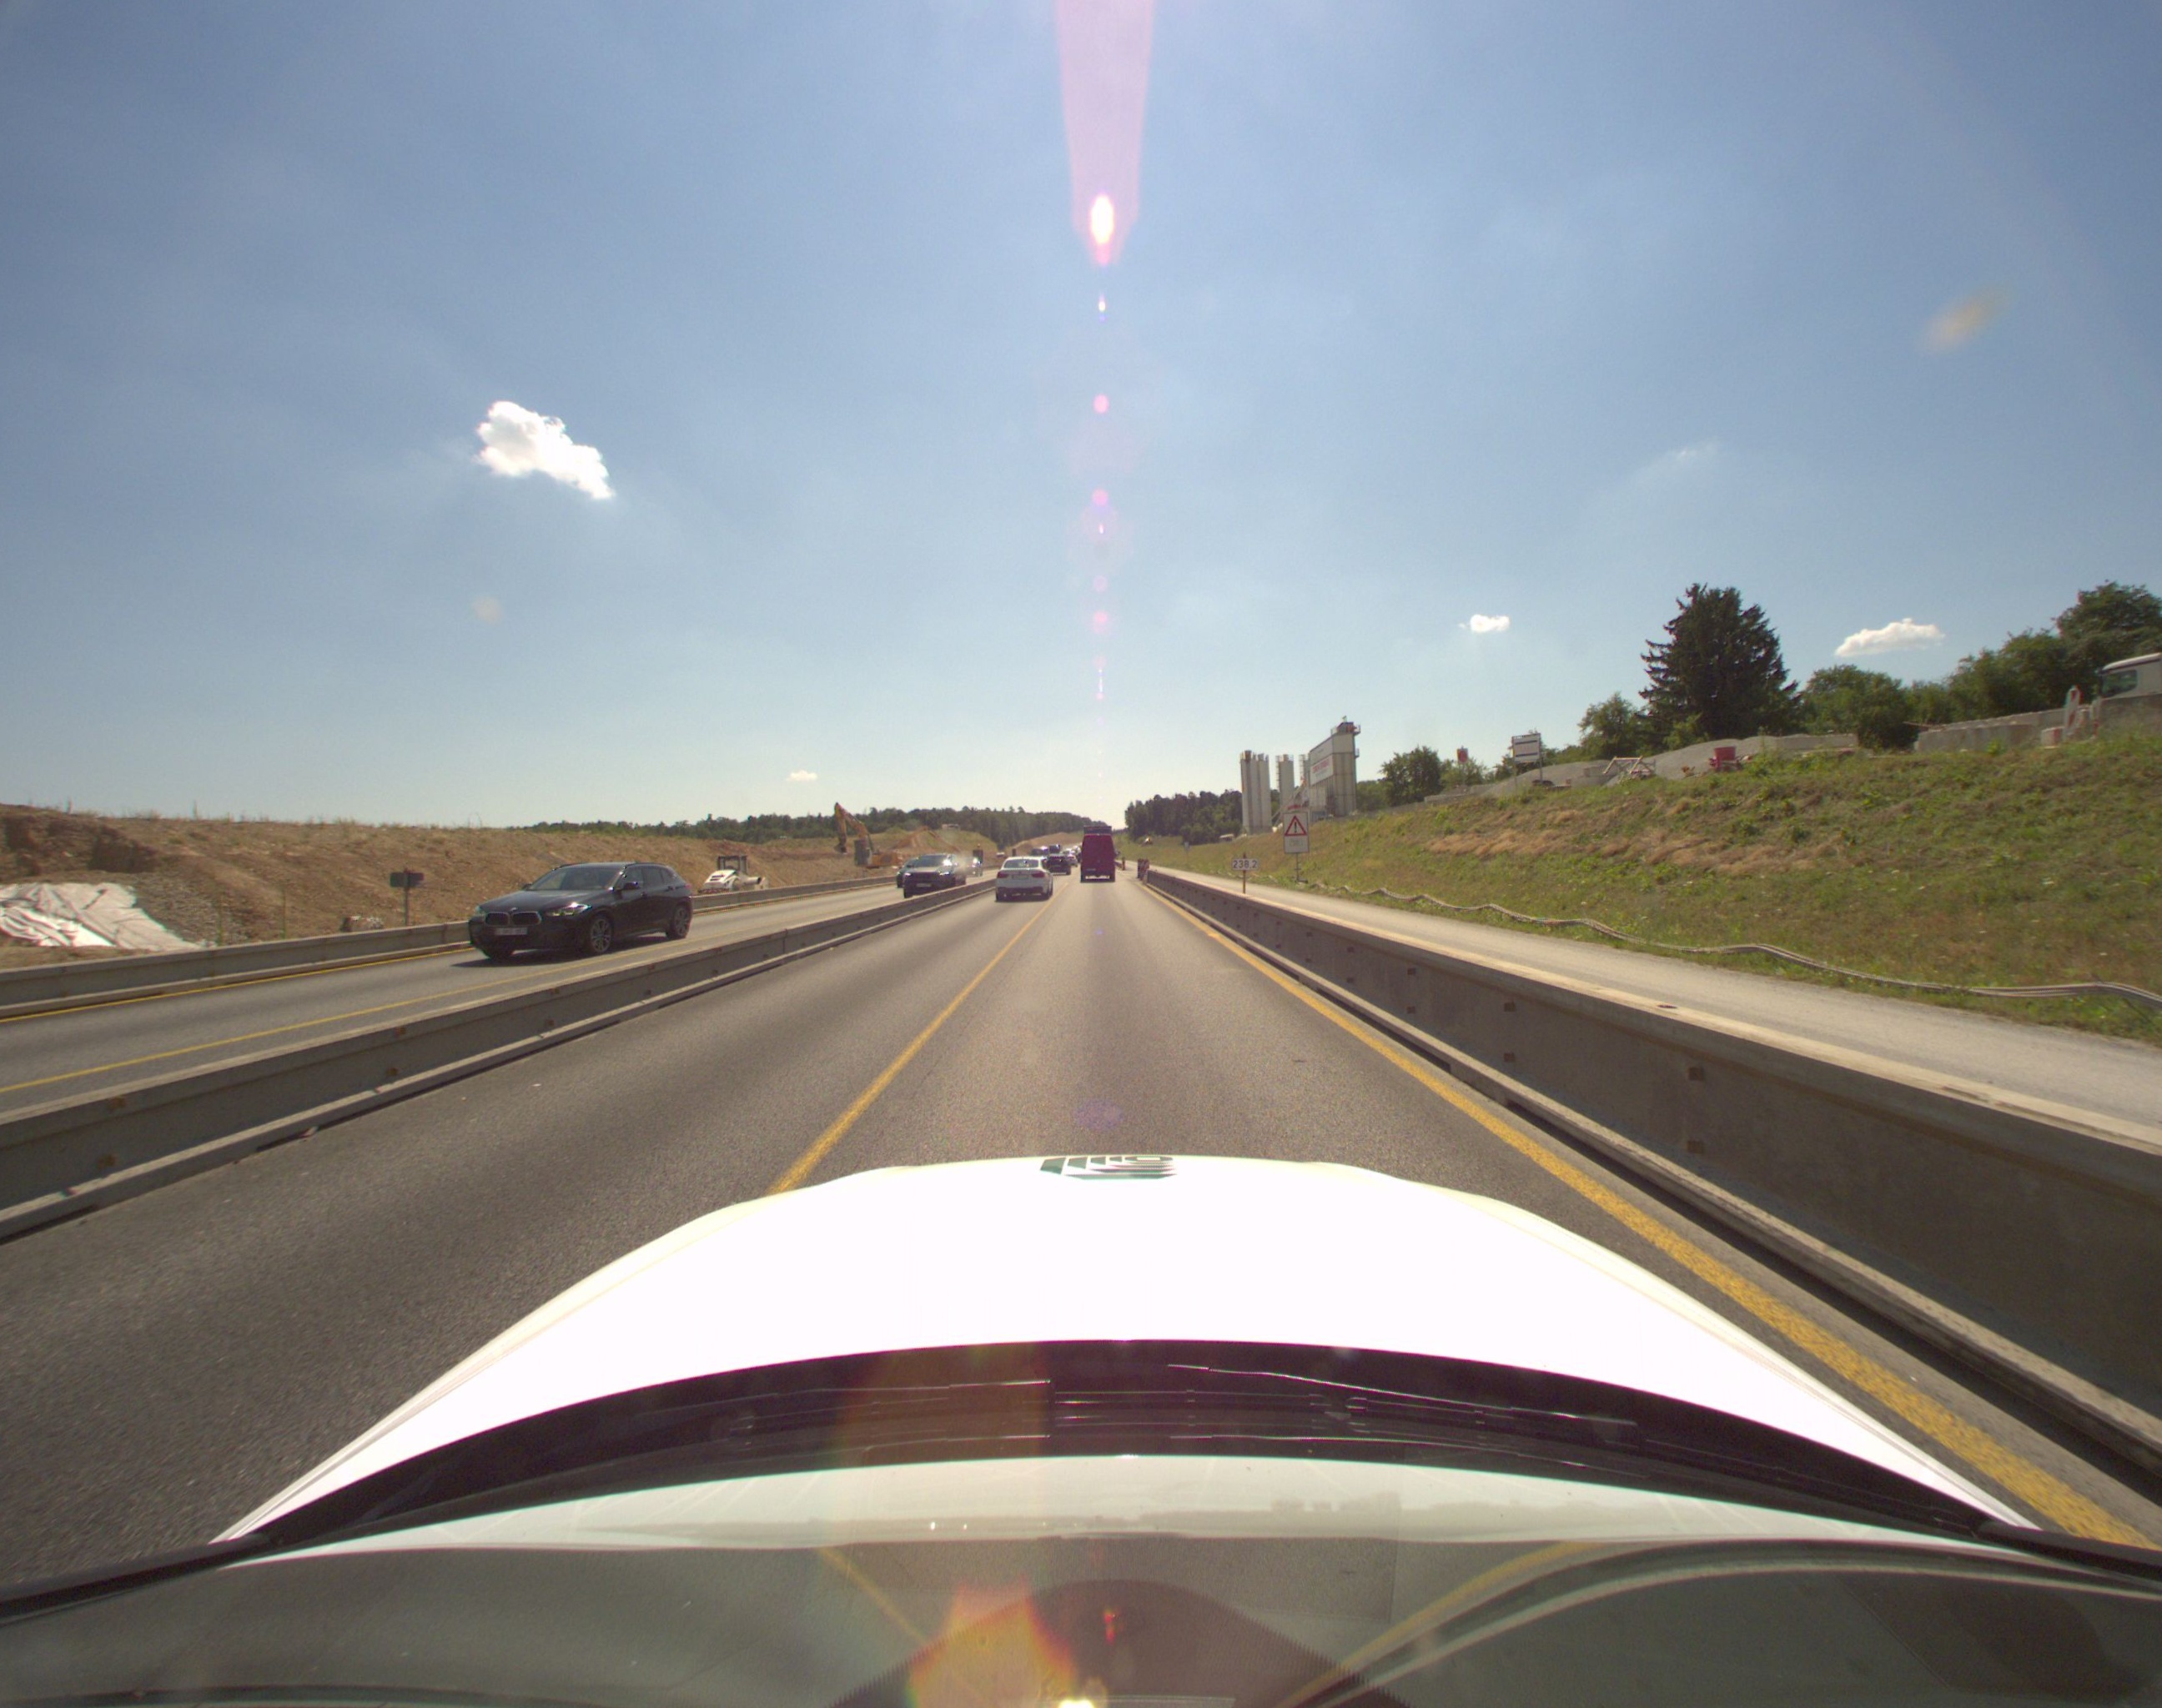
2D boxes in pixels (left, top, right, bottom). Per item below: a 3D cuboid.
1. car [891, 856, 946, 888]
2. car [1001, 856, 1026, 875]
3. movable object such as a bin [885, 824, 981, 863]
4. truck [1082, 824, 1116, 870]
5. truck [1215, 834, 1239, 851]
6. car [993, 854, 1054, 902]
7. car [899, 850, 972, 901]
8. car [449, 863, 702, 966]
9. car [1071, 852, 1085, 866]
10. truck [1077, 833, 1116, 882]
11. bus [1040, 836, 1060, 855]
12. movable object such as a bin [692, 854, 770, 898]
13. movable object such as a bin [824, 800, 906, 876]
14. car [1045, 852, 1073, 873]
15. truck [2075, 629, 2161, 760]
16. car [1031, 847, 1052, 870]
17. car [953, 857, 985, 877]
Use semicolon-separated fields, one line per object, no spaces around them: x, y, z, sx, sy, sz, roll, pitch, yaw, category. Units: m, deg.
-8.441;0.881;42.645;1.854;1.501;4.577;-2;0;1;car
-5.524;0.894;66.887;1.673;1.442;4.670;-2;0;0;car
-30.148;-2.163;166.306;18.658;7.231;3.614;-2;0;-1;movable object such as a bin
1.759;-0.630;78.626;3.004;4.153;8.275;-2;0;2;truck
28.251;-2.155;157.438;2.869;3.113;6.047;-2;0;25;truck
-1.995;0.798;29.486;1.789;1.534;5.073;-1;0;0;car
-5.503;0.749;31.371;1.765;1.741;5.040;-2;0;1;car
-8.724;0.945;14.607;1.719;1.478;4.393;-2;0;1;car
-0.458;0.705;123.493;1.986;2.013;4.001;-2;0;1;car
0.941;0.169;47.881;2.104;2.633;6.486;-2;0;1;truck
-7.398;-1.936;198.730;3.930;4.415;17.199;-2;0;0;bus
-21.443;1.267;50.315;1.695;2.461;6.746;-2;0;1;movable object such as a bin
-23.085;-1.719;87.278;7.607;7.713;3.447;-2;0;2;movable object such as a bin
-1.634;0.617;61.607;1.788;1.534;3.933;-2;0;2;car
37.215;-5.452;27.270;2.743;4.095;4.089;-2;0;-8;truck
-4.479;0.476;93.422;1.948;2.468;5.358;-2;0;1;car
-8.423;0.955;61.521;1.646;1.442;4.228;-2;0;1;car
